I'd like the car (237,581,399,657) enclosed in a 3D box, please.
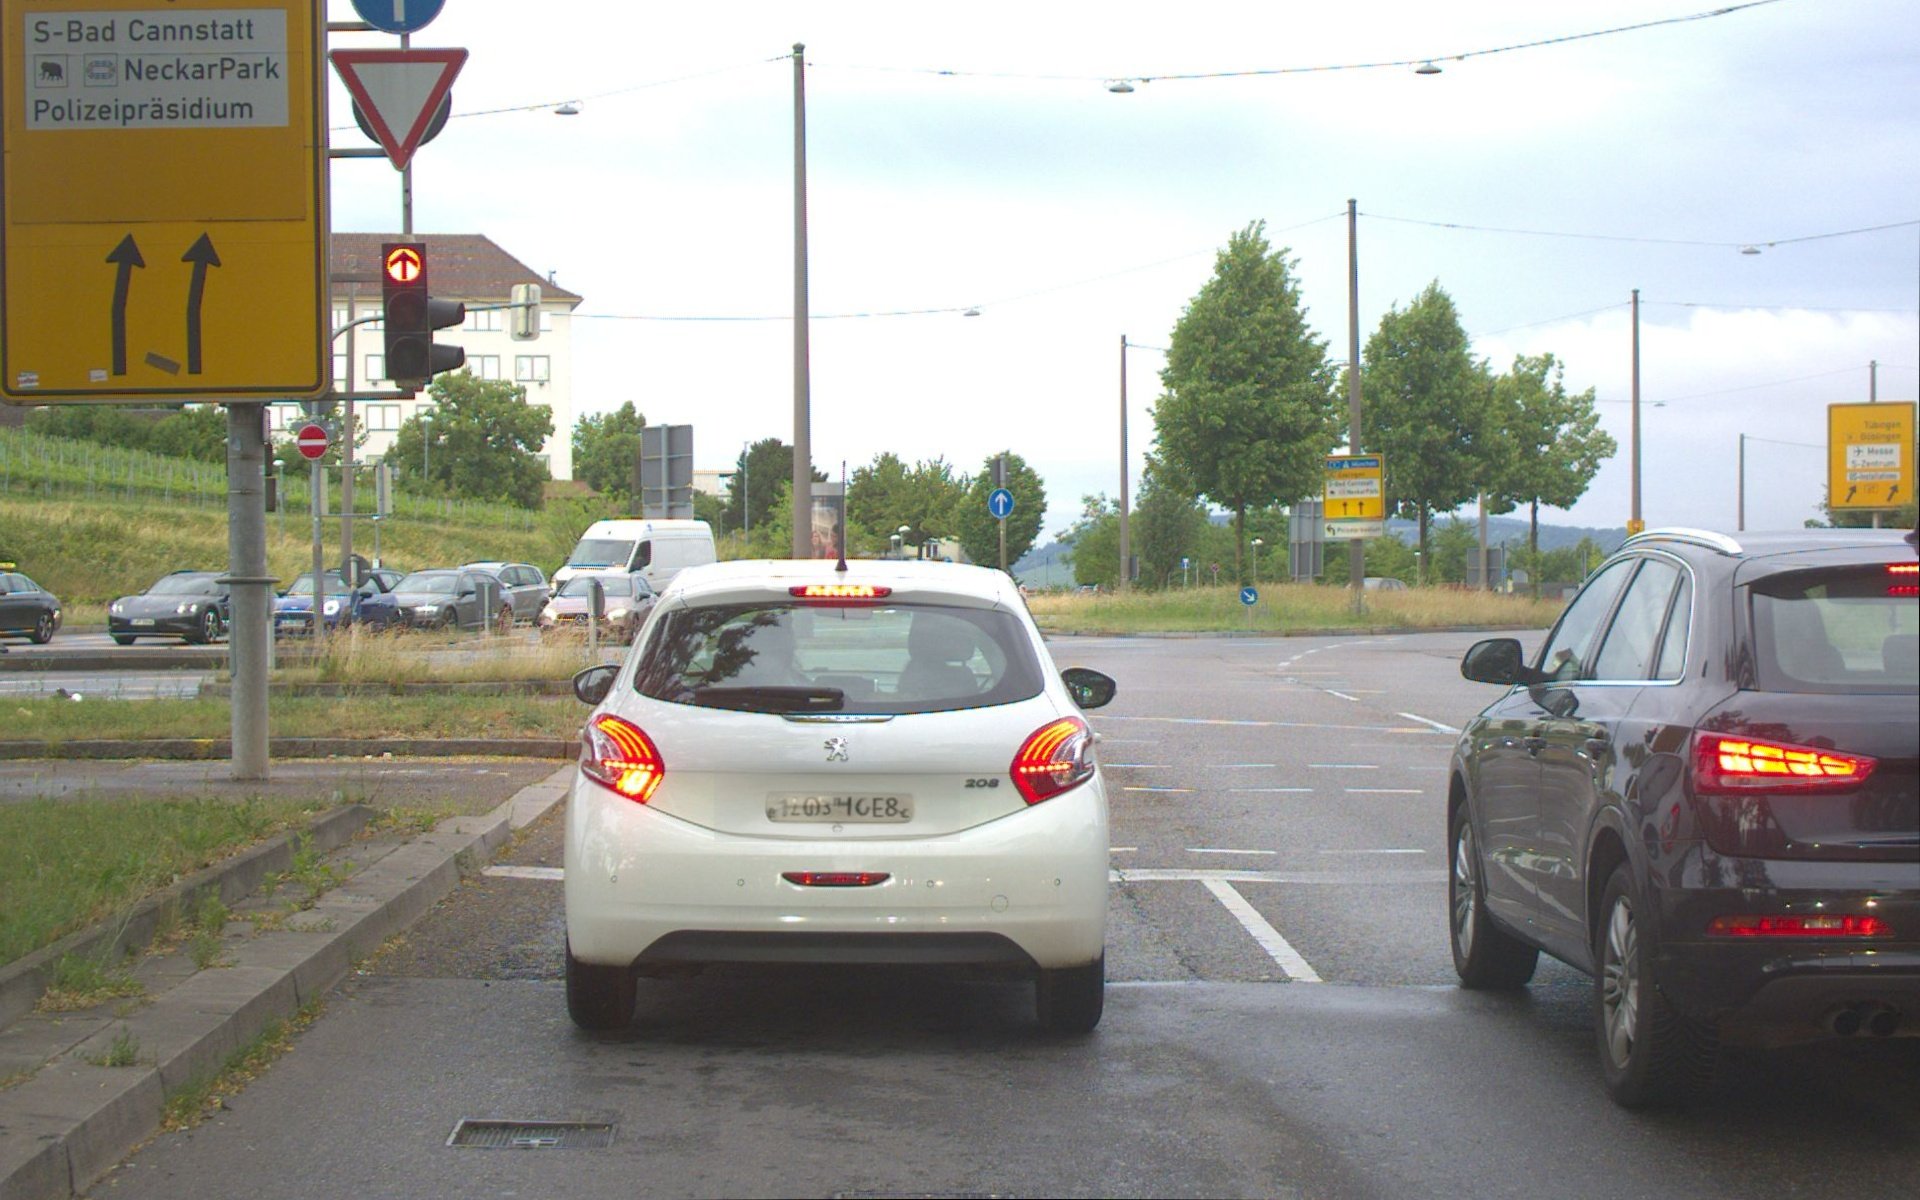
[{"bbox_3d":[-12.286,0.376,66.000,1.787,1.391,3.880,1,-1,10],"label":"car"}]

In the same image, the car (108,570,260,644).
[{"bbox_3d":[-15.305,0.157,67.961,1.787,1.391,3.881,1,-1,5],"label":"car"}]

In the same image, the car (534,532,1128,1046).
[{"bbox_3d":[-0.408,0.543,12.042,1.718,1.484,4.000,1,0,-1],"label":"car"}]

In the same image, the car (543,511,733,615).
[{"bbox_3d":[-8.338,-0.918,89.721,1.996,2.550,6.161,2,0,25],"label":"car"}]

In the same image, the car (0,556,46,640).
[{"bbox_3d":[-19.363,-0.059,66.339,1.829,1.618,4.565,2,0,6],"label":"car"}]

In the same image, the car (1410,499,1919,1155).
[{"bbox_3d":[2.631,0.568,10.498,1.884,1.590,4.113,2,0,-1],"label":"car"}]

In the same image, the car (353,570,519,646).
[{"bbox_3d":[-10.919,0.166,72.038,1.902,1.484,4.890,1,0,11],"label":"car"}]

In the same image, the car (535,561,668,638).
[{"bbox_3d":[-6.930,-0.010,66.849,1.776,1.420,4.373,0,0,5],"label":"car"}]
